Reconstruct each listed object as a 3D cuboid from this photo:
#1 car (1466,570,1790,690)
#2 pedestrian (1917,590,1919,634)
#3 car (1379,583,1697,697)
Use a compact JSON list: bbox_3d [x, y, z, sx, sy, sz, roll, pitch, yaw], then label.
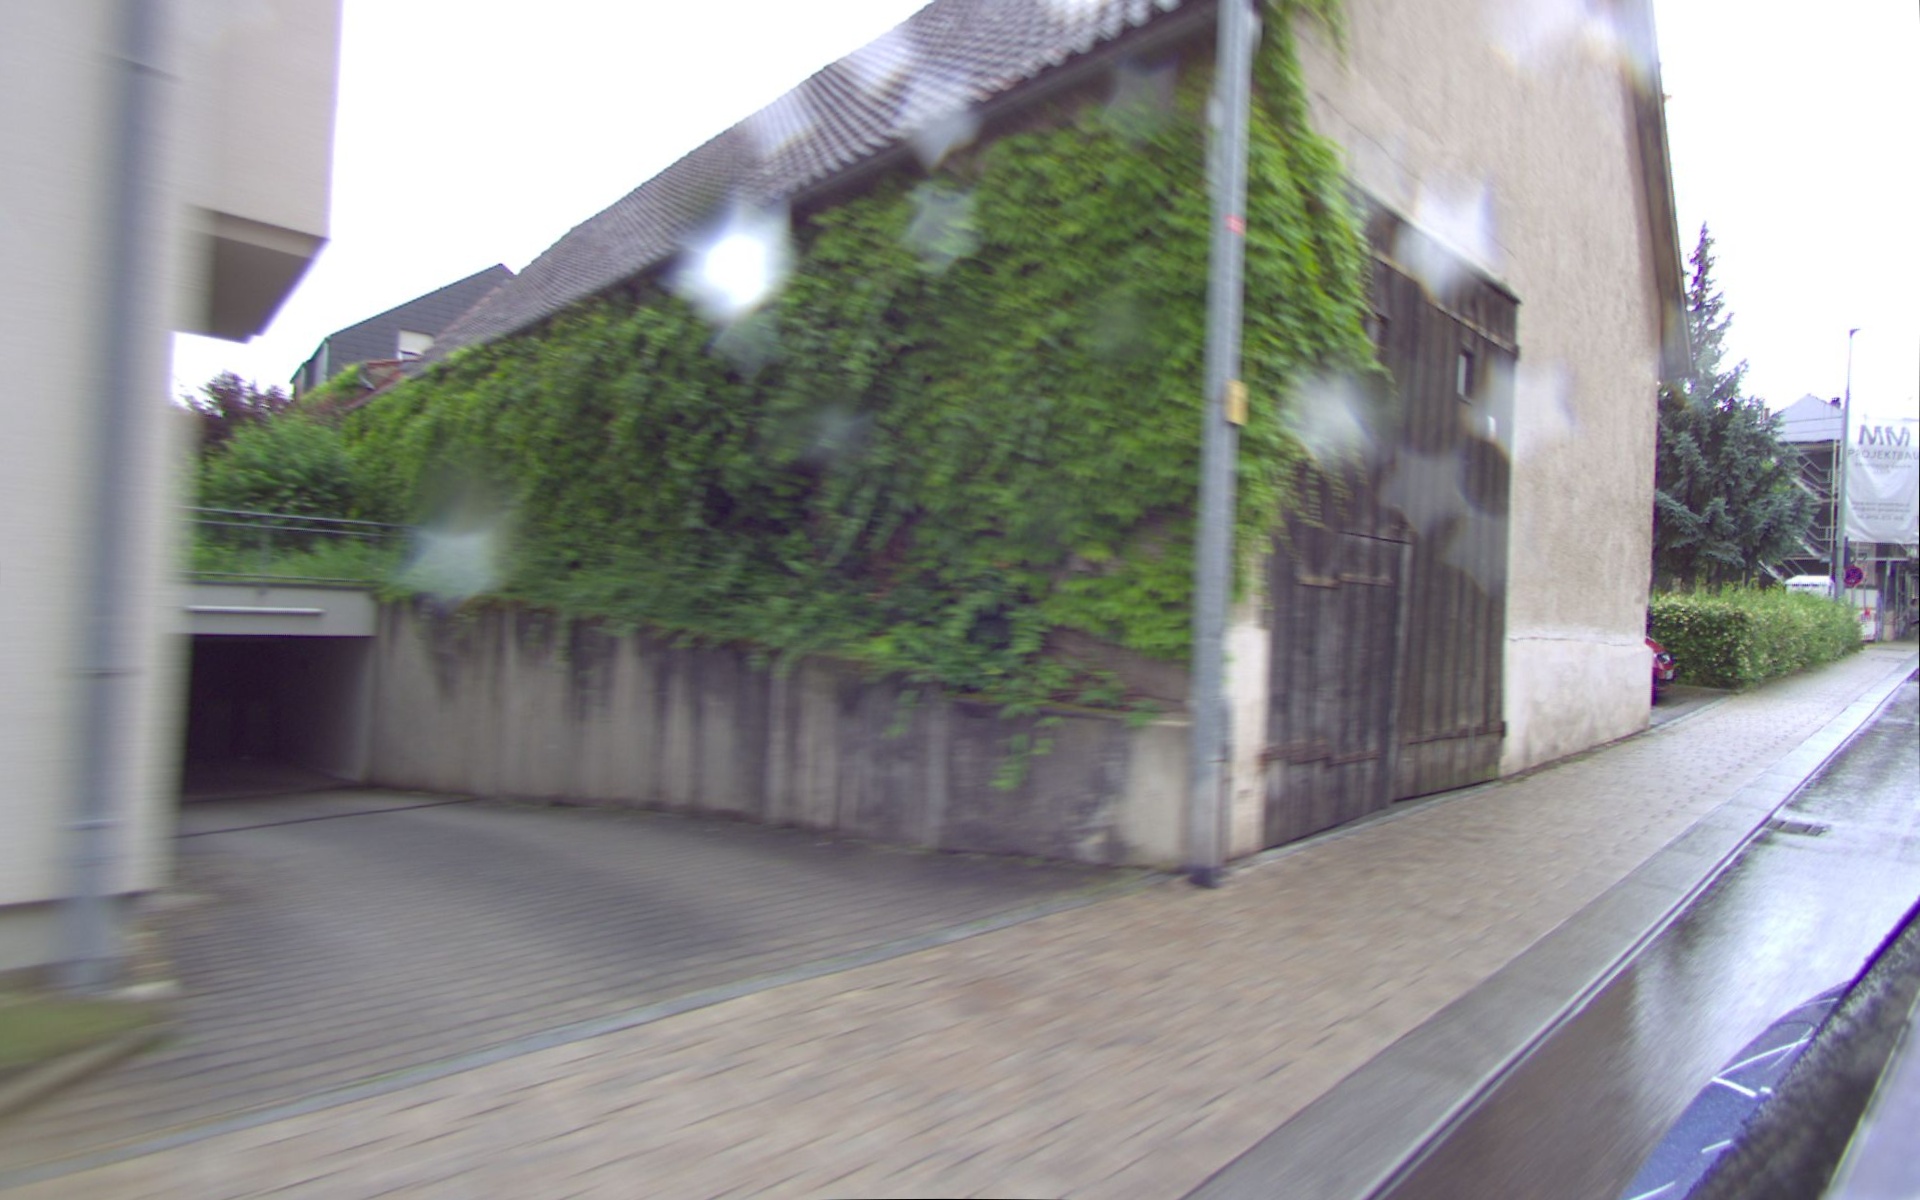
[{"bbox_3d":[11.253,0.411,17.295,1.869,1.669,4.226,1,2,-41],"label":"car"},{"bbox_3d":[35.957,0.457,37.478,0.429,1.600,0.655,1,2,-43],"label":"pedestrian"},{"bbox_3d":[9.140,0.535,16.235,1.767,1.587,4.112,1,0,-44],"label":"car"}]
